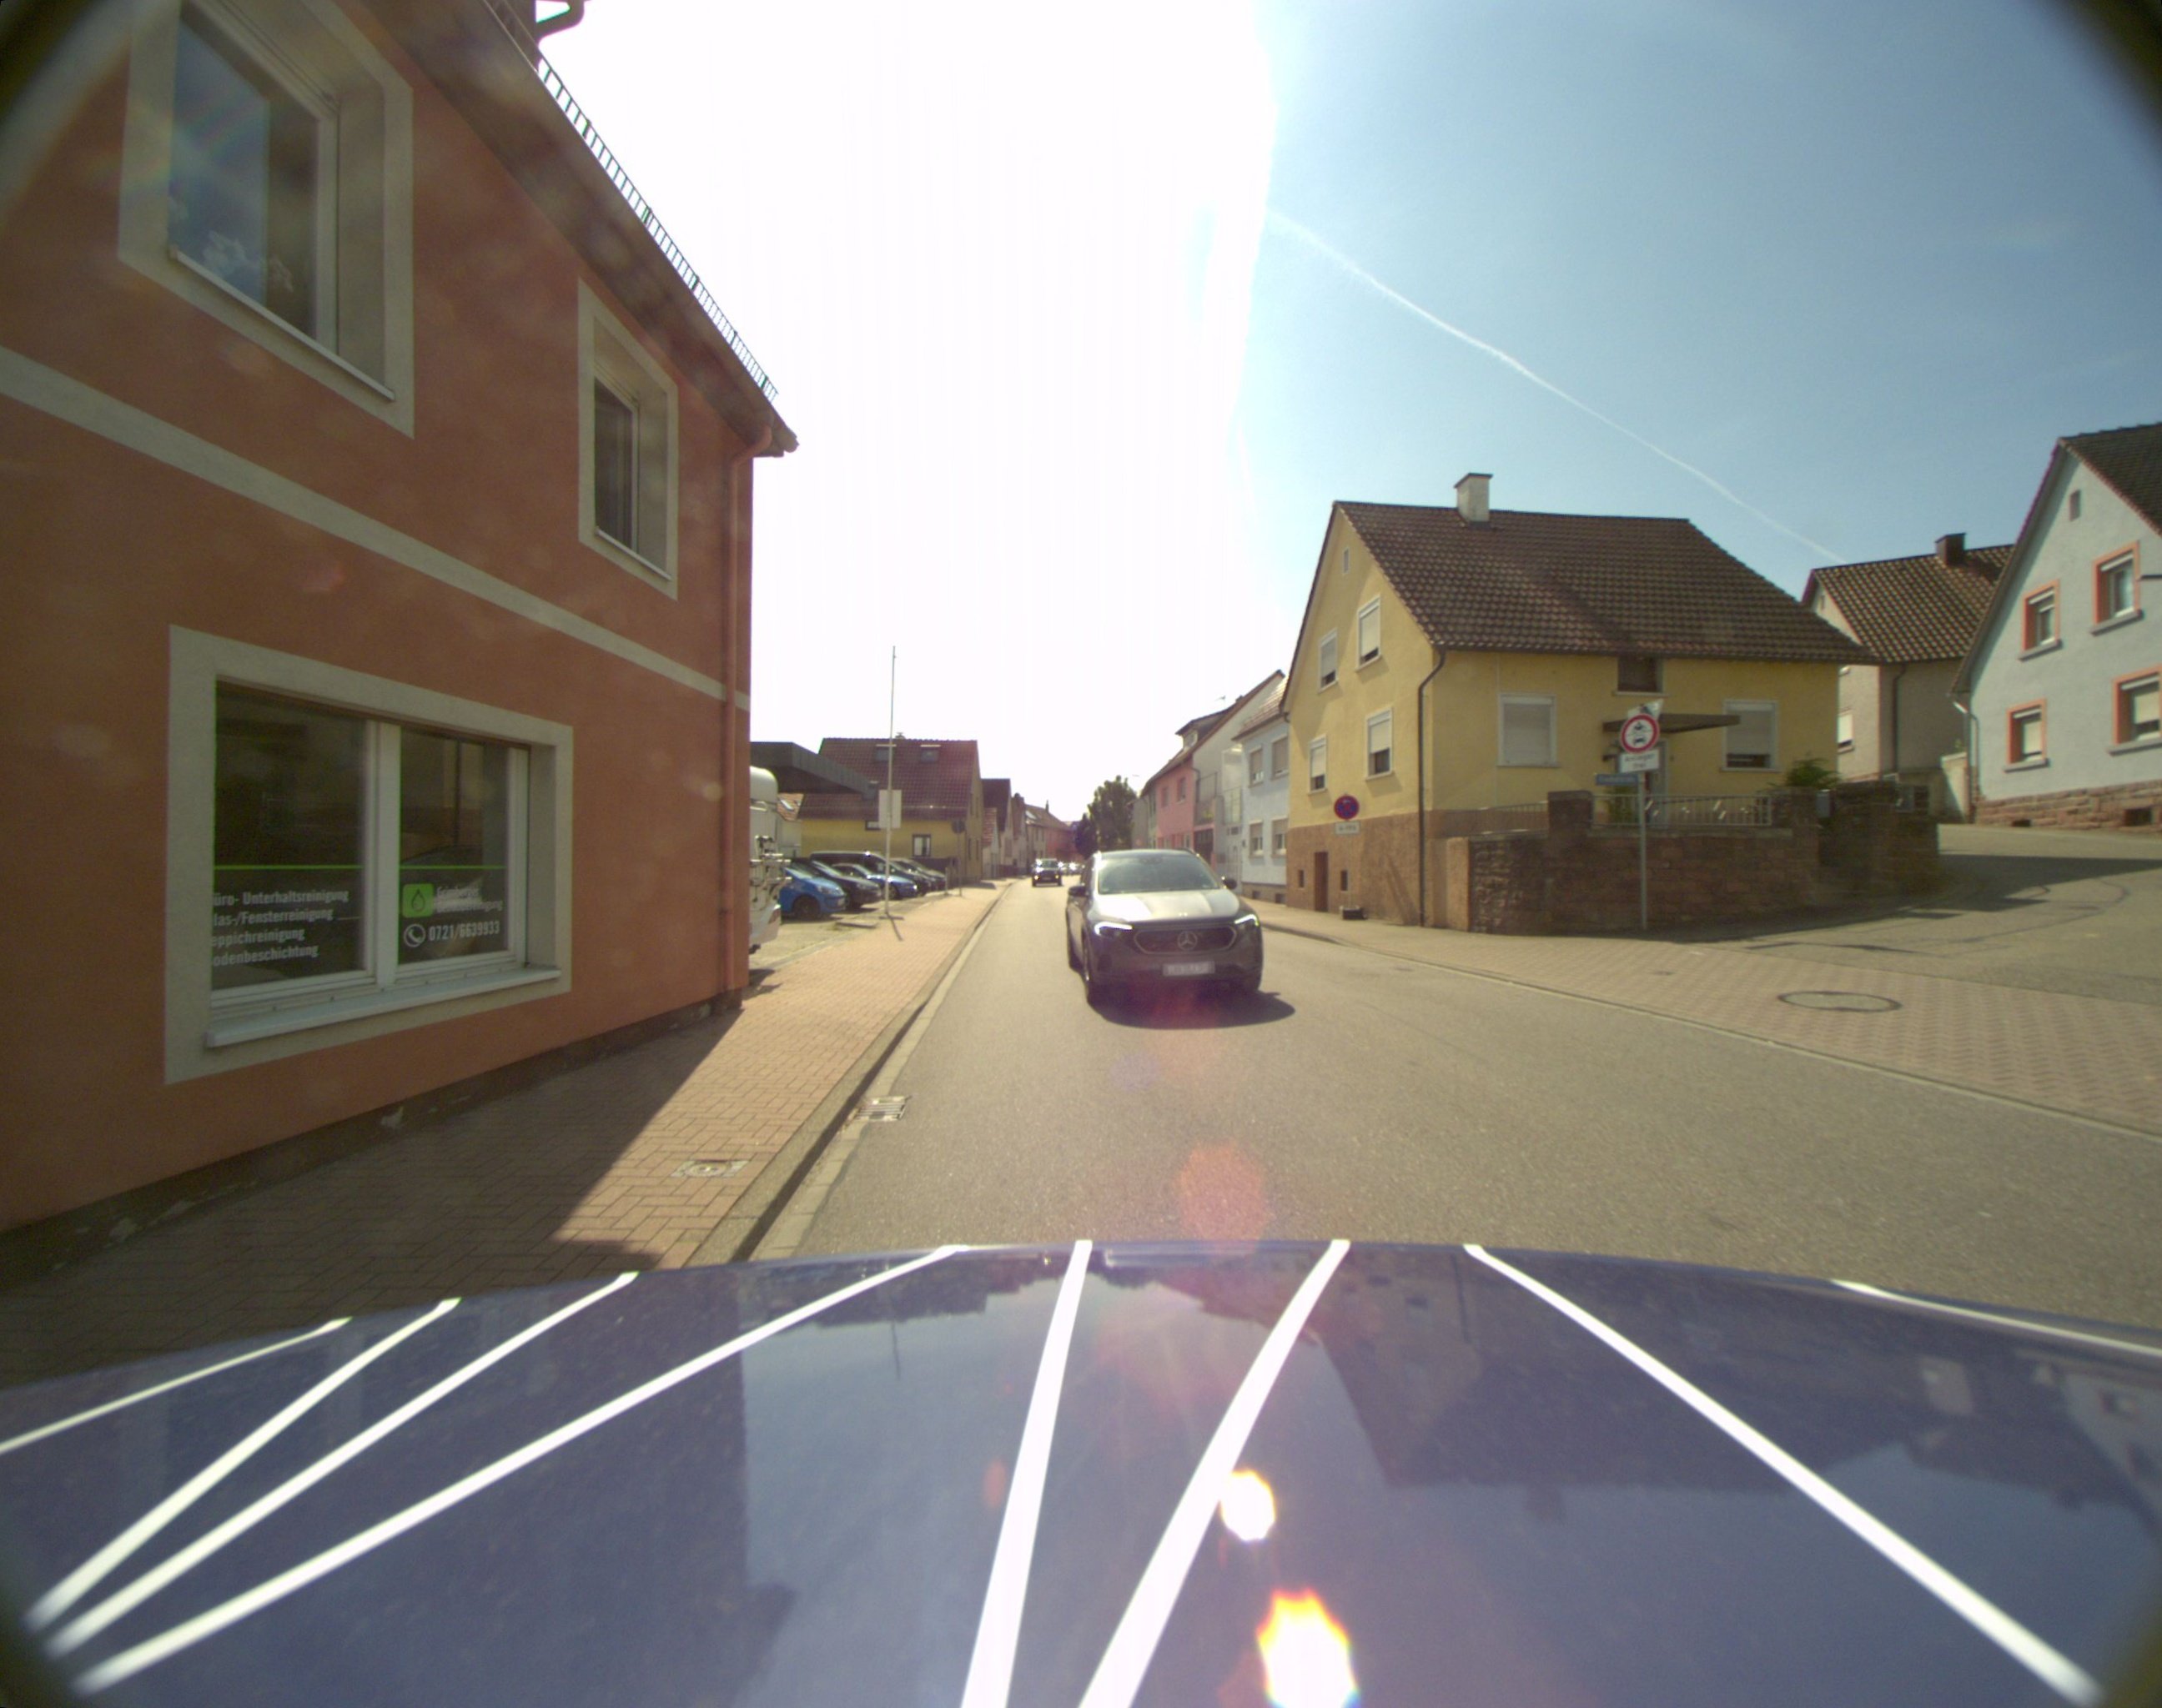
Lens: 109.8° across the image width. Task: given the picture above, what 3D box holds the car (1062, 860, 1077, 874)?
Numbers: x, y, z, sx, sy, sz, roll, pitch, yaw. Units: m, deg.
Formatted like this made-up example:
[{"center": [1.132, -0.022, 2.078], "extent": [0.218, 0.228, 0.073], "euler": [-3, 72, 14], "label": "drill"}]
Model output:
[{"center": [-1.269, 1.459, 86.259], "extent": [1.518, 1.401, 3.590], "euler": [-2, 0, 2], "label": "car"}]

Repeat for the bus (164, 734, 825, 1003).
[{"center": [-6.912, 0.156, 9.578], "extent": [6.582, 2.888, 2.229], "euler": [1, 1, 0], "label": "bus"}]

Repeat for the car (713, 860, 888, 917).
[{"center": [-7.613, 0.923, 20.897], "extent": [4.171, 1.472, 1.727], "euler": [0, 0, 0], "label": "car"}]

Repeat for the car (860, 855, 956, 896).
[{"center": [-8.693, 1.065, 38.416], "extent": [4.338, 1.736, 1.737], "euler": [-3, 2, 4], "label": "car"}]

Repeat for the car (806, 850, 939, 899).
[{"center": [-8.035, 0.785, 29.609], "extent": [4.647, 1.799, 1.965], "euler": [0, 1, 0], "label": "car"}]

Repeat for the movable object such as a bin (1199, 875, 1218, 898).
[{"center": [5.273, 1.351, 31.548], "extent": [0.631, 0.875, 0.599], "euler": [-2, 1, -2], "label": "movable object such as a bin"}]

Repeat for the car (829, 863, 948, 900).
[{"center": [-8.254, 1.160, 32.892], "extent": [4.647, 1.489, 1.911], "euler": [-1, 0, 0], "label": "car"}]

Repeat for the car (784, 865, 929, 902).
[{"center": [-7.893, 1.013, 26.992], "extent": [4.549, 1.260, 1.966], "euler": [0, 0, 0], "label": "car"}]

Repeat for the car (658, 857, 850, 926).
[{"center": [-7.571, 0.855, 17.840], "extent": [3.810, 1.519, 1.582], "euler": [0, 0, -2], "label": "car"}]

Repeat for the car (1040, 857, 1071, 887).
[{"center": [-1.575, 1.032, 46.279], "extent": [1.792, 1.643, 4.391], "euler": [-1, 1, -2], "label": "car"}]

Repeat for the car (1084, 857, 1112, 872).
[{"center": [2.339, 1.371, 104.311], "extent": [1.944, 1.841, 4.516], "euler": [-2, 1, 27], "label": "car"}]

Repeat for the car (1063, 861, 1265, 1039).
[{"center": [0.721, 0.899, 9.150], "extent": [1.738, 1.564, 4.289], "euler": [-2, 0, -2], "label": "car"}]
